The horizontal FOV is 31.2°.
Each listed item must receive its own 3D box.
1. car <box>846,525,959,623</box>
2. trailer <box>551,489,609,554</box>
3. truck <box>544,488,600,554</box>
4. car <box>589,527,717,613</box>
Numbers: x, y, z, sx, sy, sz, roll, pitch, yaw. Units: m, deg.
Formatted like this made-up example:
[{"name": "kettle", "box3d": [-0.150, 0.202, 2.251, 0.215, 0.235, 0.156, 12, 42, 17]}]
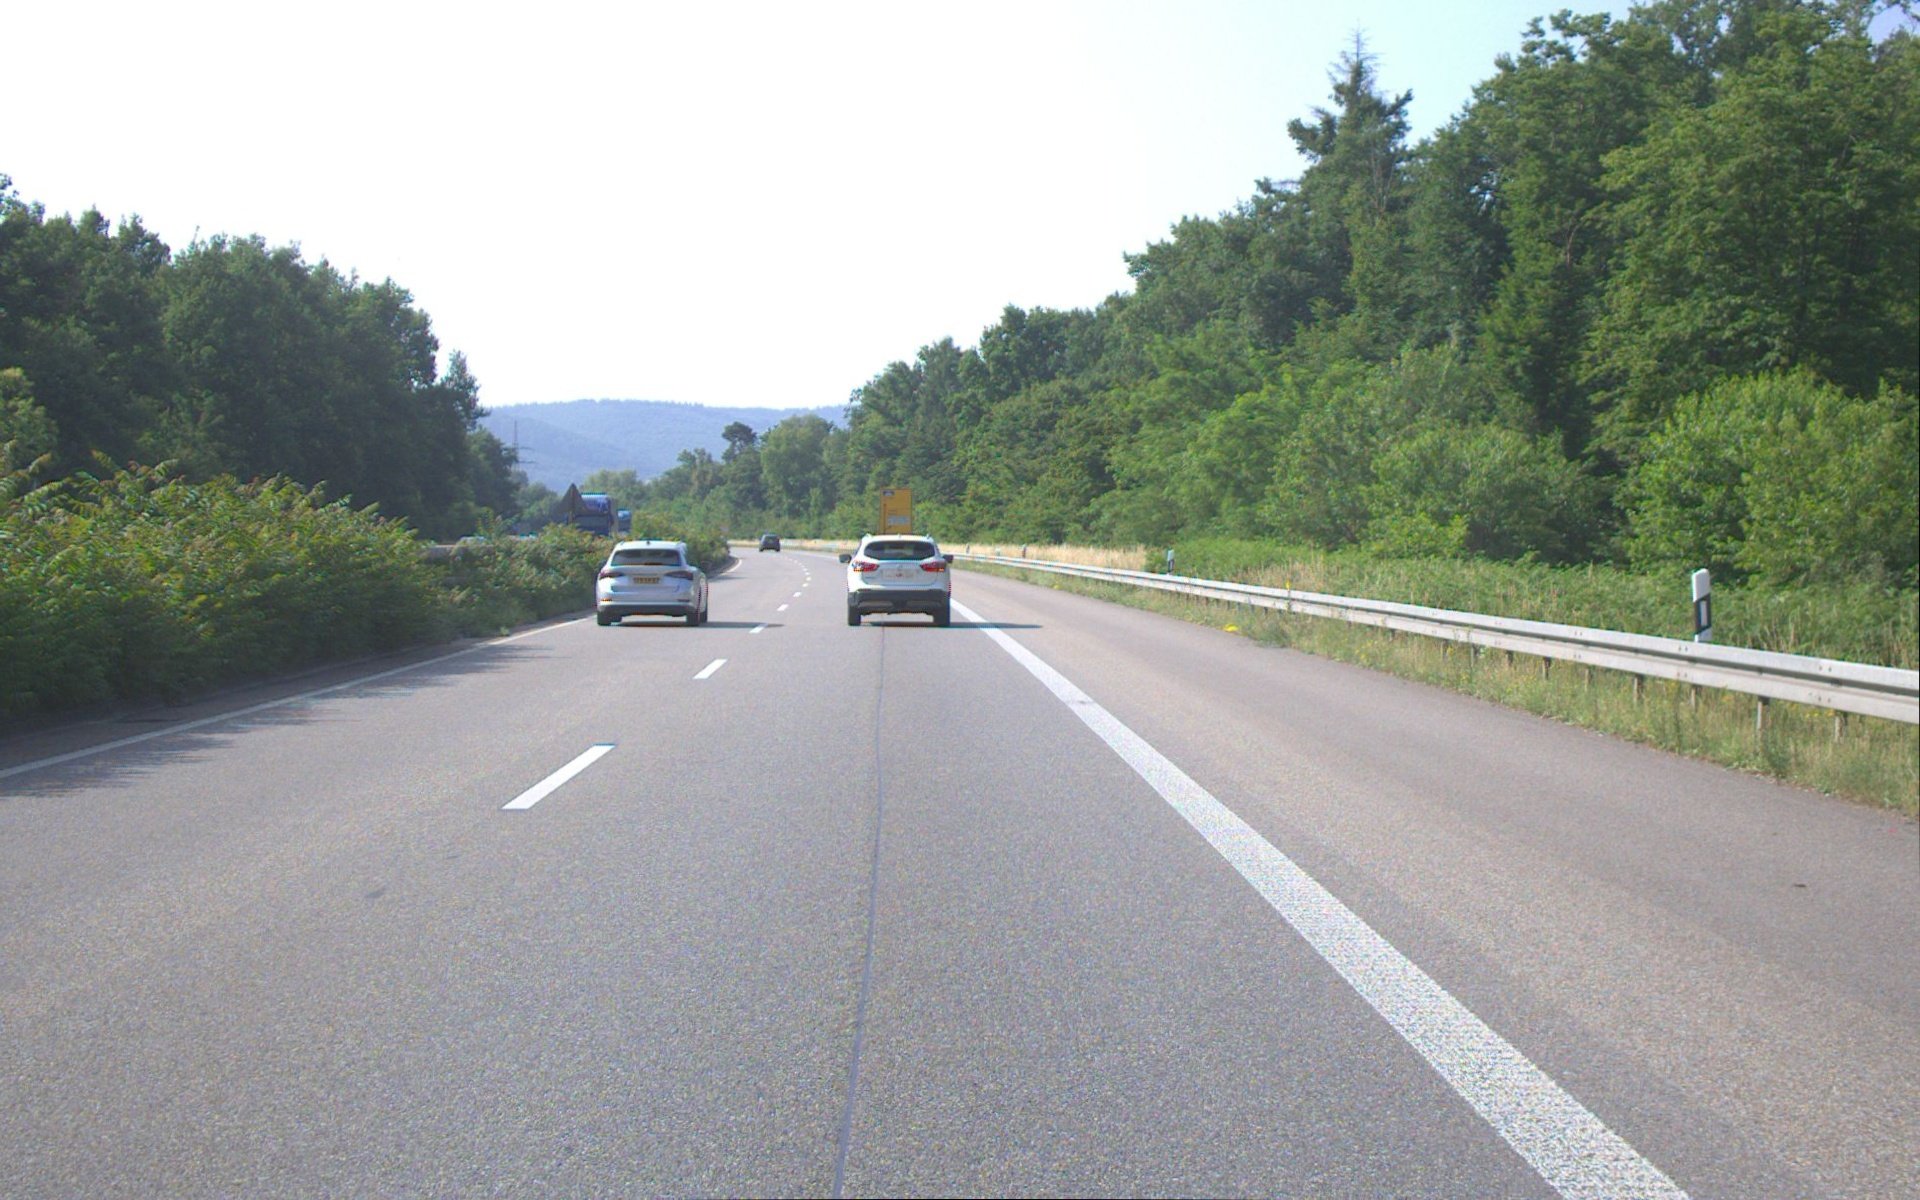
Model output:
[{"name": "car", "box3d": [-1.045, -0.487, 60.770, 1.873, 1.580, 4.001, 2, 1, -2]}, {"name": "trailer", "box3d": [-24.226, -5.011, 219.670, 2.831, 3.985, 11.435, 0, 1, -2]}, {"name": "truck", "box3d": [-23.982, -4.851, 212.601, 2.784, 3.985, 8.417, 0, 1, -2]}, {"name": "car", "box3d": [-5.367, -0.558, 60.625, 1.792, 1.433, 5.279, 0, 1, 0]}]
